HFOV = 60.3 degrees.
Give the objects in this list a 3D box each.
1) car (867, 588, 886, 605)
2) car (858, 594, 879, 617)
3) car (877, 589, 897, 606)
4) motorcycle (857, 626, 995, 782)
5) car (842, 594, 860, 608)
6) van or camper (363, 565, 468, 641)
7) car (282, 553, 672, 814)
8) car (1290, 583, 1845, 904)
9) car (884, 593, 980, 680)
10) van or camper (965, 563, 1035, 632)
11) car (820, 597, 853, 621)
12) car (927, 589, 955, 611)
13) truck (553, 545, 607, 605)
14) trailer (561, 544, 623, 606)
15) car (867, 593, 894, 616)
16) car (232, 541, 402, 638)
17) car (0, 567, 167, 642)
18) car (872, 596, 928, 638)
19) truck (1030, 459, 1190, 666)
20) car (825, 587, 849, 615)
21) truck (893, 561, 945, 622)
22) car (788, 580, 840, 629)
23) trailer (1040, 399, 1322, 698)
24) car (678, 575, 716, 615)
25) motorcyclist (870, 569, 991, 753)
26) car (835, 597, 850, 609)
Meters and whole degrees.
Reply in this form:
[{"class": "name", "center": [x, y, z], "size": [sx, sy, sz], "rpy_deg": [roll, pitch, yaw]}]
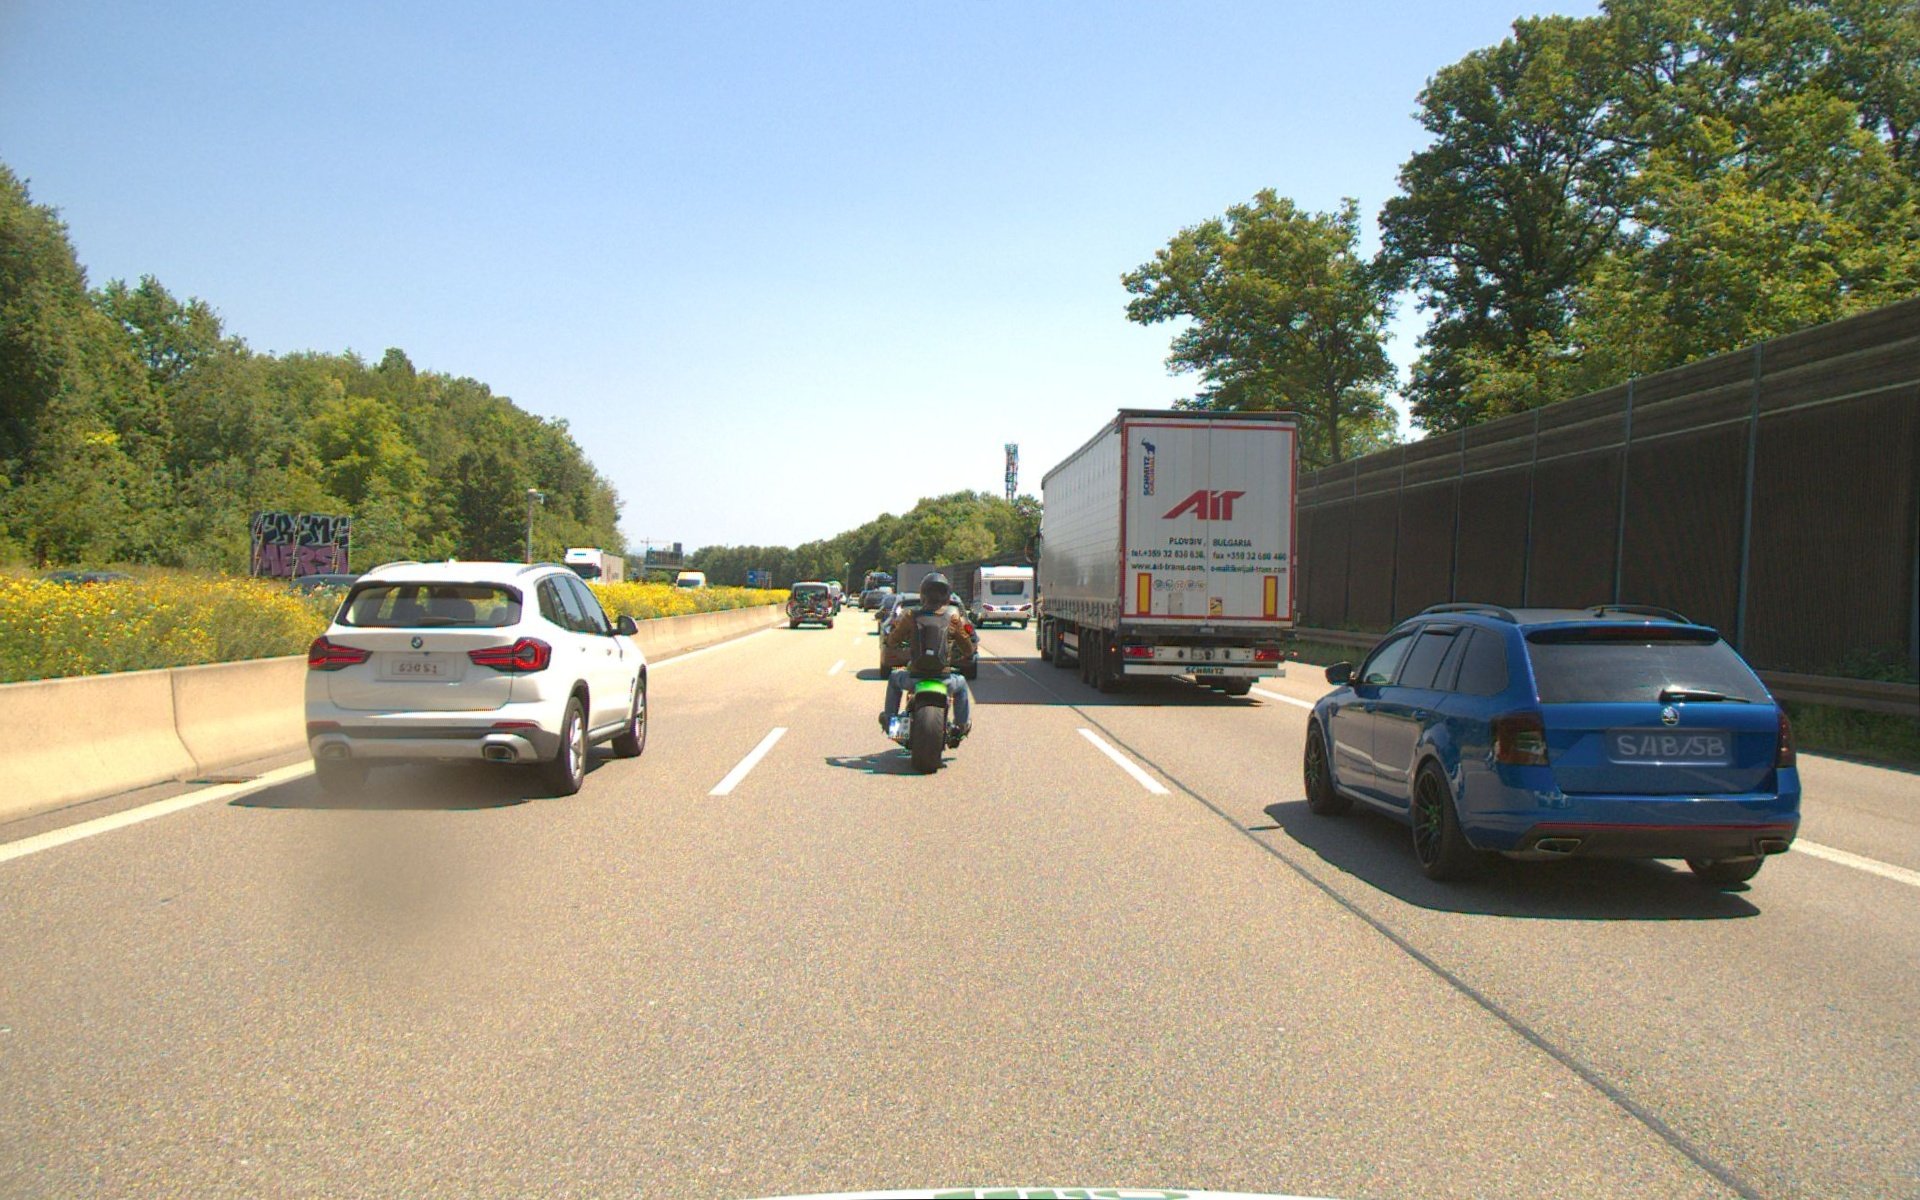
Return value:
[{"class": "car", "center": [-10.094, -0.390, 199.197], "size": [2.067, 1.909, 3.995], "rpy_deg": [1, -1, -5]}, {"class": "car", "center": [-8.651, 0.522, 156.181], "size": [1.874, 2.049, 3.686], "rpy_deg": [1, -1, -6]}, {"class": "car", "center": [-8.542, -0.264, 194.001], "size": [2.067, 1.909, 3.995], "rpy_deg": [1, -1, -6]}, {"class": "motorcycle", "center": [-0.242, 0.848, 14.590], "size": [0.944, 1.168, 2.813], "rpy_deg": [1, 0, 4]}, {"class": "car", "center": [-11.869, 0.123, 180.268], "size": [1.797, 1.522, 3.739], "rpy_deg": [1, -1, -6]}, {"class": "van or camper", "center": [-15.522, 0.092, 47.343], "size": [1.658, 2.048, 4.211], "rpy_deg": [1, 0, -1]}, {"class": "car", "center": [-3.647, 0.562, 13.507], "size": [1.826, 1.724, 4.954], "rpy_deg": [1, 0, -1]}, {"class": "car", "center": [3.341, 0.722, 10.102], "size": [1.617, 1.509, 4.479], "rpy_deg": [1, -1, -2]}, {"class": "car", "center": [-0.539, 0.665, 30.319], "size": [1.629, 1.478, 3.867], "rpy_deg": [1, -1, -2]}, {"class": "van or camper", "center": [1.691, -0.036, 72.840], "size": [2.631, 2.862, 6.799], "rpy_deg": [1, -1, -2]}, {"class": "car", "center": [-7.813, 0.573, 104.675], "size": [1.953, 1.411, 3.998], "rpy_deg": [1, -1, -3]}, {"class": "car", "center": [-1.443, 0.032, 124.990], "size": [1.954, 1.601, 3.997], "rpy_deg": [1, -1, -3]}, {"class": "truck", "center": [-27.528, -1.763, 120.000], "size": [2.906, 4.179, 6.082], "rpy_deg": [1, -1, -4]}, {"class": "trailer", "center": [-28.056, -1.803, 126.663], "size": [2.869, 4.306, 13.050], "rpy_deg": [1, -1, -5]}, {"class": "car", "center": [-6.007, 0.359, 125.349], "size": [1.953, 1.669, 3.999], "rpy_deg": [1, -1, -1]}, {"class": "car", "center": [-12.048, -0.152, 31.259], "size": [1.672, 1.694, 4.079], "rpy_deg": [1, -1, -1]}, {"class": "car", "center": [-19.043, 0.128, 35.940], "size": [1.740, 1.517, 3.998], "rpy_deg": [1, -1, -1]}, {"class": "car", "center": [-2.184, 0.629, 59.779], "size": [1.954, 1.455, 3.845], "rpy_deg": [1, -1, -3]}, {"class": "truck", "center": [3.202, -0.770, 36.902], "size": [2.827, 4.218, 5.984], "rpy_deg": [1, 0, -2]}, {"class": "car", "center": [-9.358, 0.081, 125.403], "size": [1.756, 2.049, 3.638], "rpy_deg": [1, -1, -5]}, {"class": "truck", "center": [-3.644, -0.691, 143.801], "size": [3.730, 5.047, 8.937], "rpy_deg": [1, -1, -6]}, {"class": "car", "center": [-5.926, 0.230, 67.581], "size": [1.861, 1.906, 4.410], "rpy_deg": [1, -1, -2]}, {"class": "trailer", "center": [3.398, -0.715, 29.775], "size": [2.827, 4.109, 13.790], "rpy_deg": [1, 0, -2]}, {"class": "car", "center": [-19.992, -0.357, 126.091], "size": [2.027, 2.947, 7.458], "rpy_deg": [1, 0, -3]}, {"class": "motorcyclist", "center": [-0.225, 0.513, 14.508], "size": [0.881, 1.501, 1.873], "rpy_deg": [0, -1, 4]}, {"class": "car", "center": [-15.616, 0.425, 219.835], "size": [1.797, 1.522, 3.738], "rpy_deg": [1, -1, -6]}]
